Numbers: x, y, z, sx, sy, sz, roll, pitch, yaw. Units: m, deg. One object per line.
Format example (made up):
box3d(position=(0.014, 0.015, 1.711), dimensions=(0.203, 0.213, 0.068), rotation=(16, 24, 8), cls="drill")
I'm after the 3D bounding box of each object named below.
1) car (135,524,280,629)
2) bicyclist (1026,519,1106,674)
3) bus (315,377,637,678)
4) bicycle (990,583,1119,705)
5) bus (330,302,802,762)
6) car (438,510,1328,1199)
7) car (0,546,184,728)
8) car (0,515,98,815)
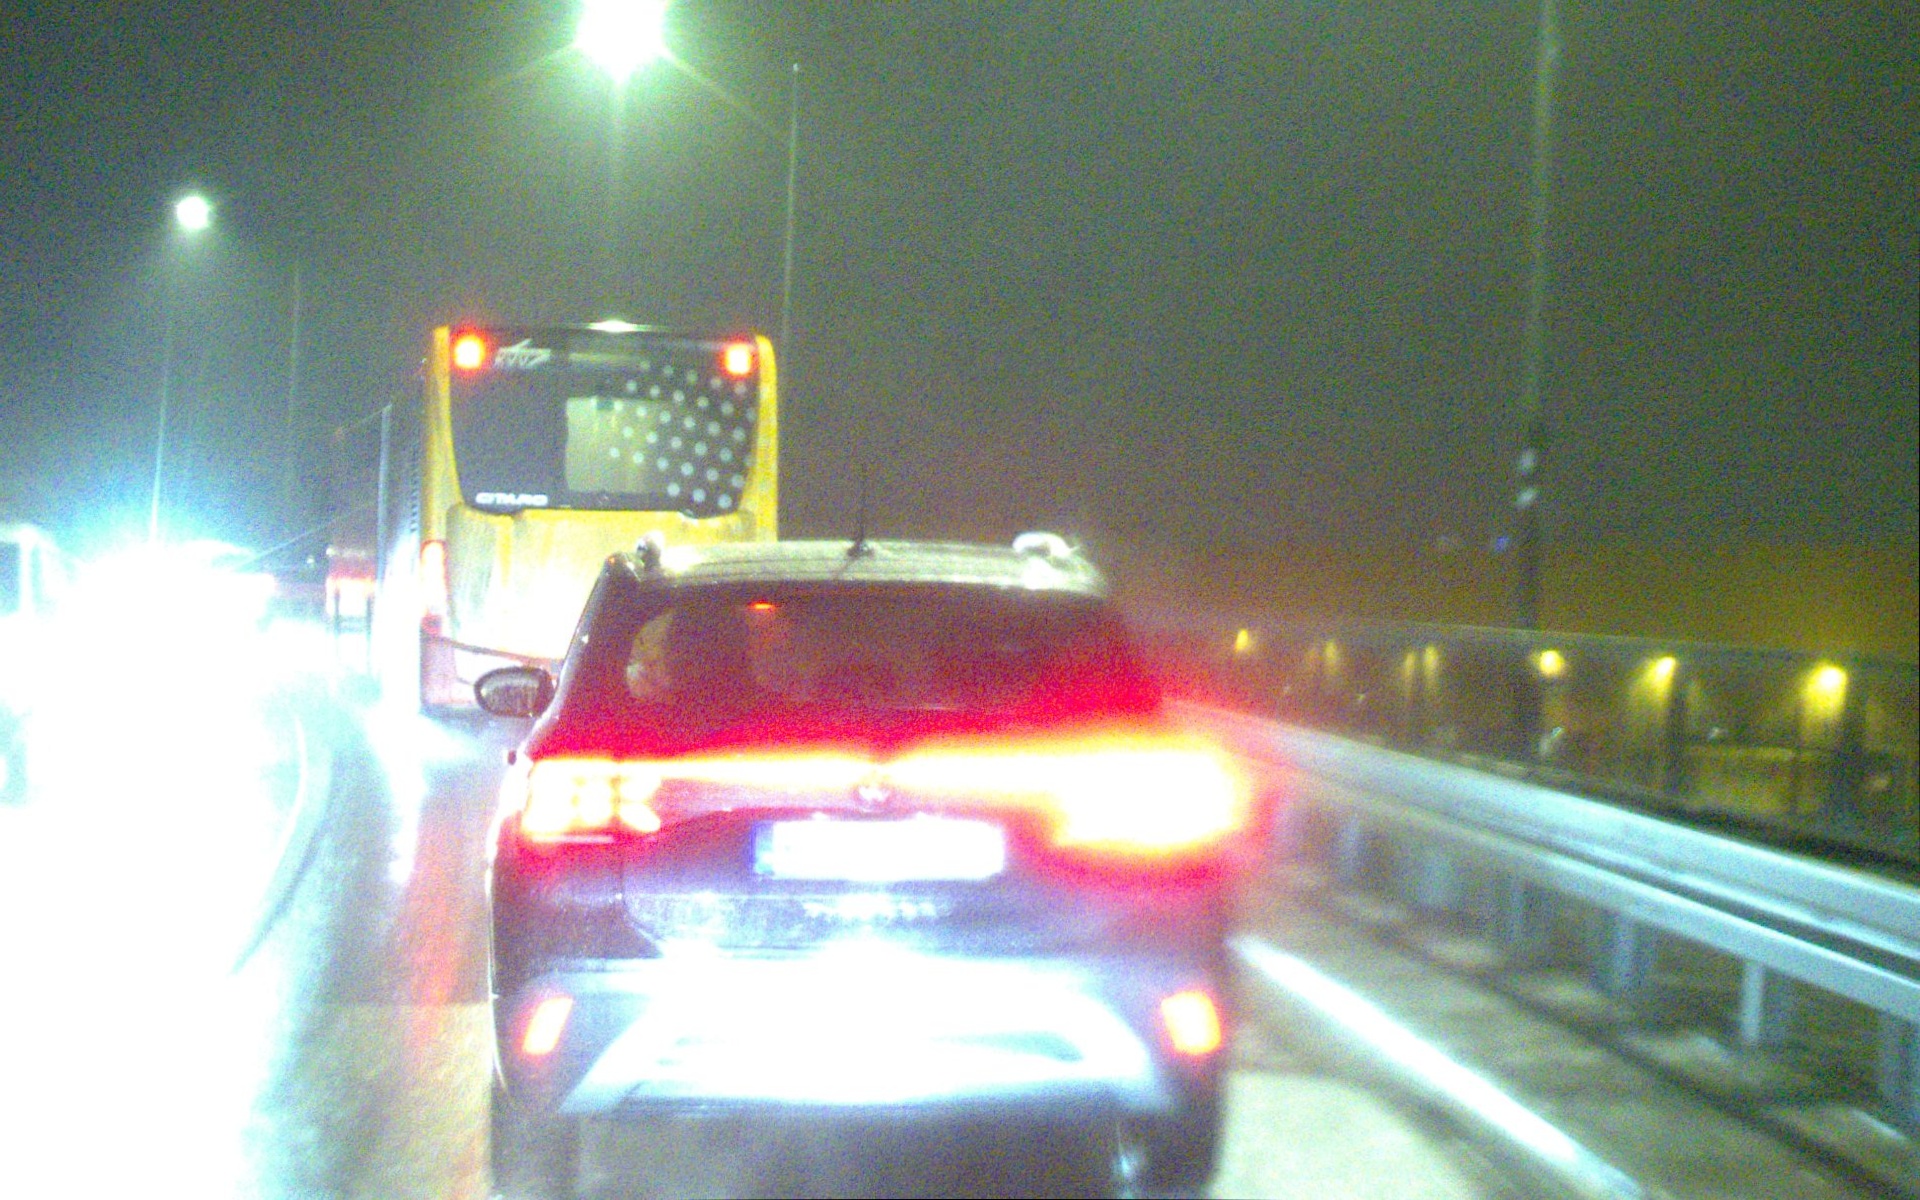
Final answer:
box3d(position=(-12.839, -0.377, 58.530), dimensions=(1.636, 1.650, 3.710), rotation=(-3, 0, -24), cls="car")
box3d(position=(0.929, -0.039, 30.274), dimensions=(0.452, 1.345, 0.765), rotation=(1, 1, -17), cls="bicyclist")
box3d(position=(-5.787, -0.864, 39.940), dimensions=(3.048, 3.121, 8.081), rotation=(-1, 1, -13), cls="bus")
box3d(position=(0.821, 0.375, 30.625), dimensions=(0.484, 1.031, 2.172), rotation=(1, 1, -16), cls="bicycle")
box3d(position=(-3.826, -0.614, 29.831), dimensions=(3.082, 3.122, 12.701), rotation=(0, 1, -11), cls="bus")
box3d(position=(-0.363, 0.595, 9.195), dimensions=(1.855, 1.581, 4.001), rotation=(1, 1, -6), cls="car")
box3d(position=(-8.961, 0.307, 35.049), dimensions=(2.022, 1.713, 4.983), rotation=(0, 1, -12), cls="car")
box3d(position=(-6.962, 0.383, 23.105), dimensions=(1.753, 1.854, 4.001), rotation=(-2, 1, -7), cls="car")
